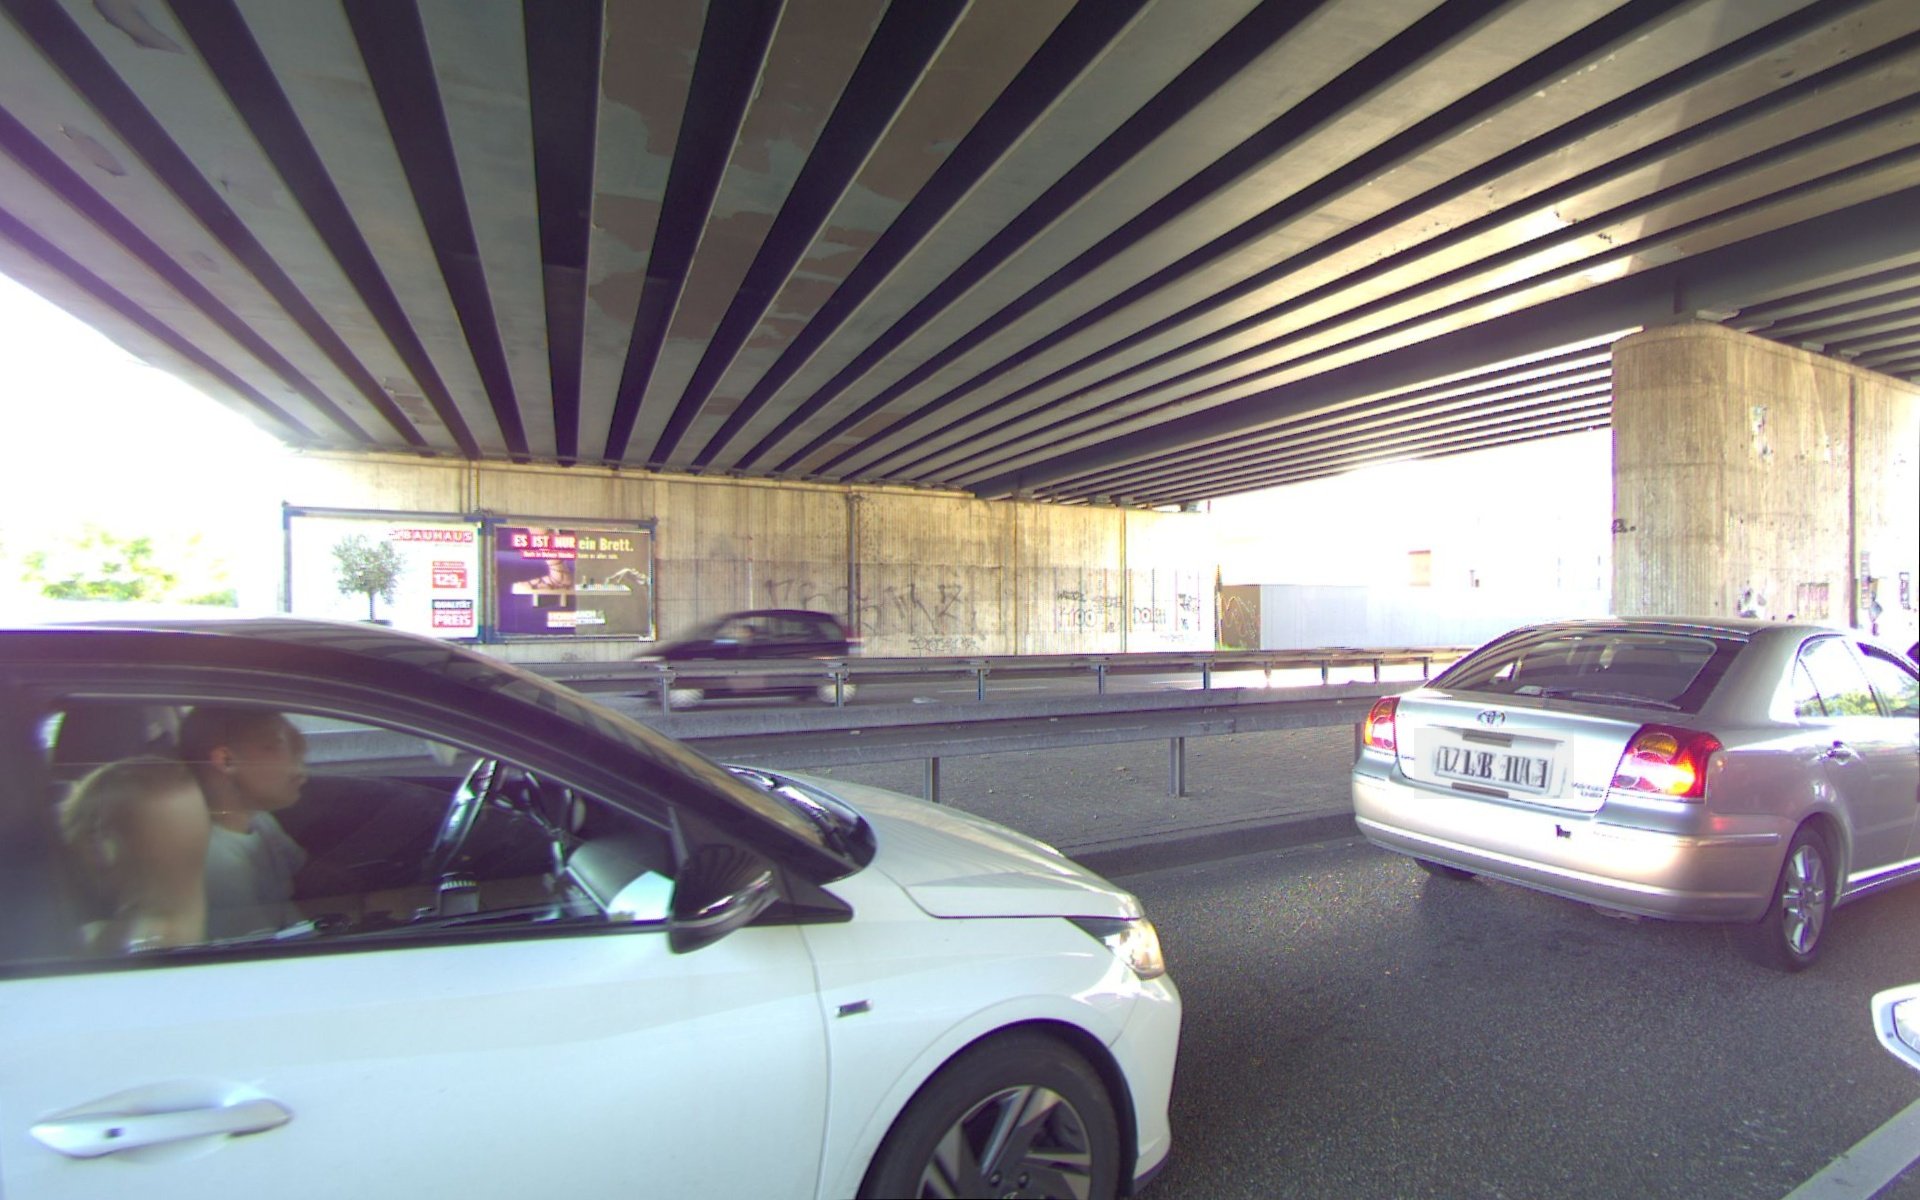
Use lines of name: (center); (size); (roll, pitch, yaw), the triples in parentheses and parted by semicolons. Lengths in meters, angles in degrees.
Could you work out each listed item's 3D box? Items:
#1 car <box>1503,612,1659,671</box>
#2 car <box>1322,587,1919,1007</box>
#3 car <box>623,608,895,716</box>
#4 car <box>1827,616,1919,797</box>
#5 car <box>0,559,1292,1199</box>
car: (17.285, 1.120, 27.986); (3.763, 1.540, 1.618); (0, -1, -17)
car: (4.086, 0.751, 5.459); (4.270, 1.499, 1.724); (1, -1, -32)
car: (-3.321, 0.944, 16.758); (4.130, 1.609, 1.817); (0, -1, -28)
car: (9.543, 0.885, 8.864); (3.687, 1.457, 1.804); (0, 0, -31)
car: (-1.341, 0.712, 2.004); (3.947, 1.499, 1.723); (1, -1, -33)
